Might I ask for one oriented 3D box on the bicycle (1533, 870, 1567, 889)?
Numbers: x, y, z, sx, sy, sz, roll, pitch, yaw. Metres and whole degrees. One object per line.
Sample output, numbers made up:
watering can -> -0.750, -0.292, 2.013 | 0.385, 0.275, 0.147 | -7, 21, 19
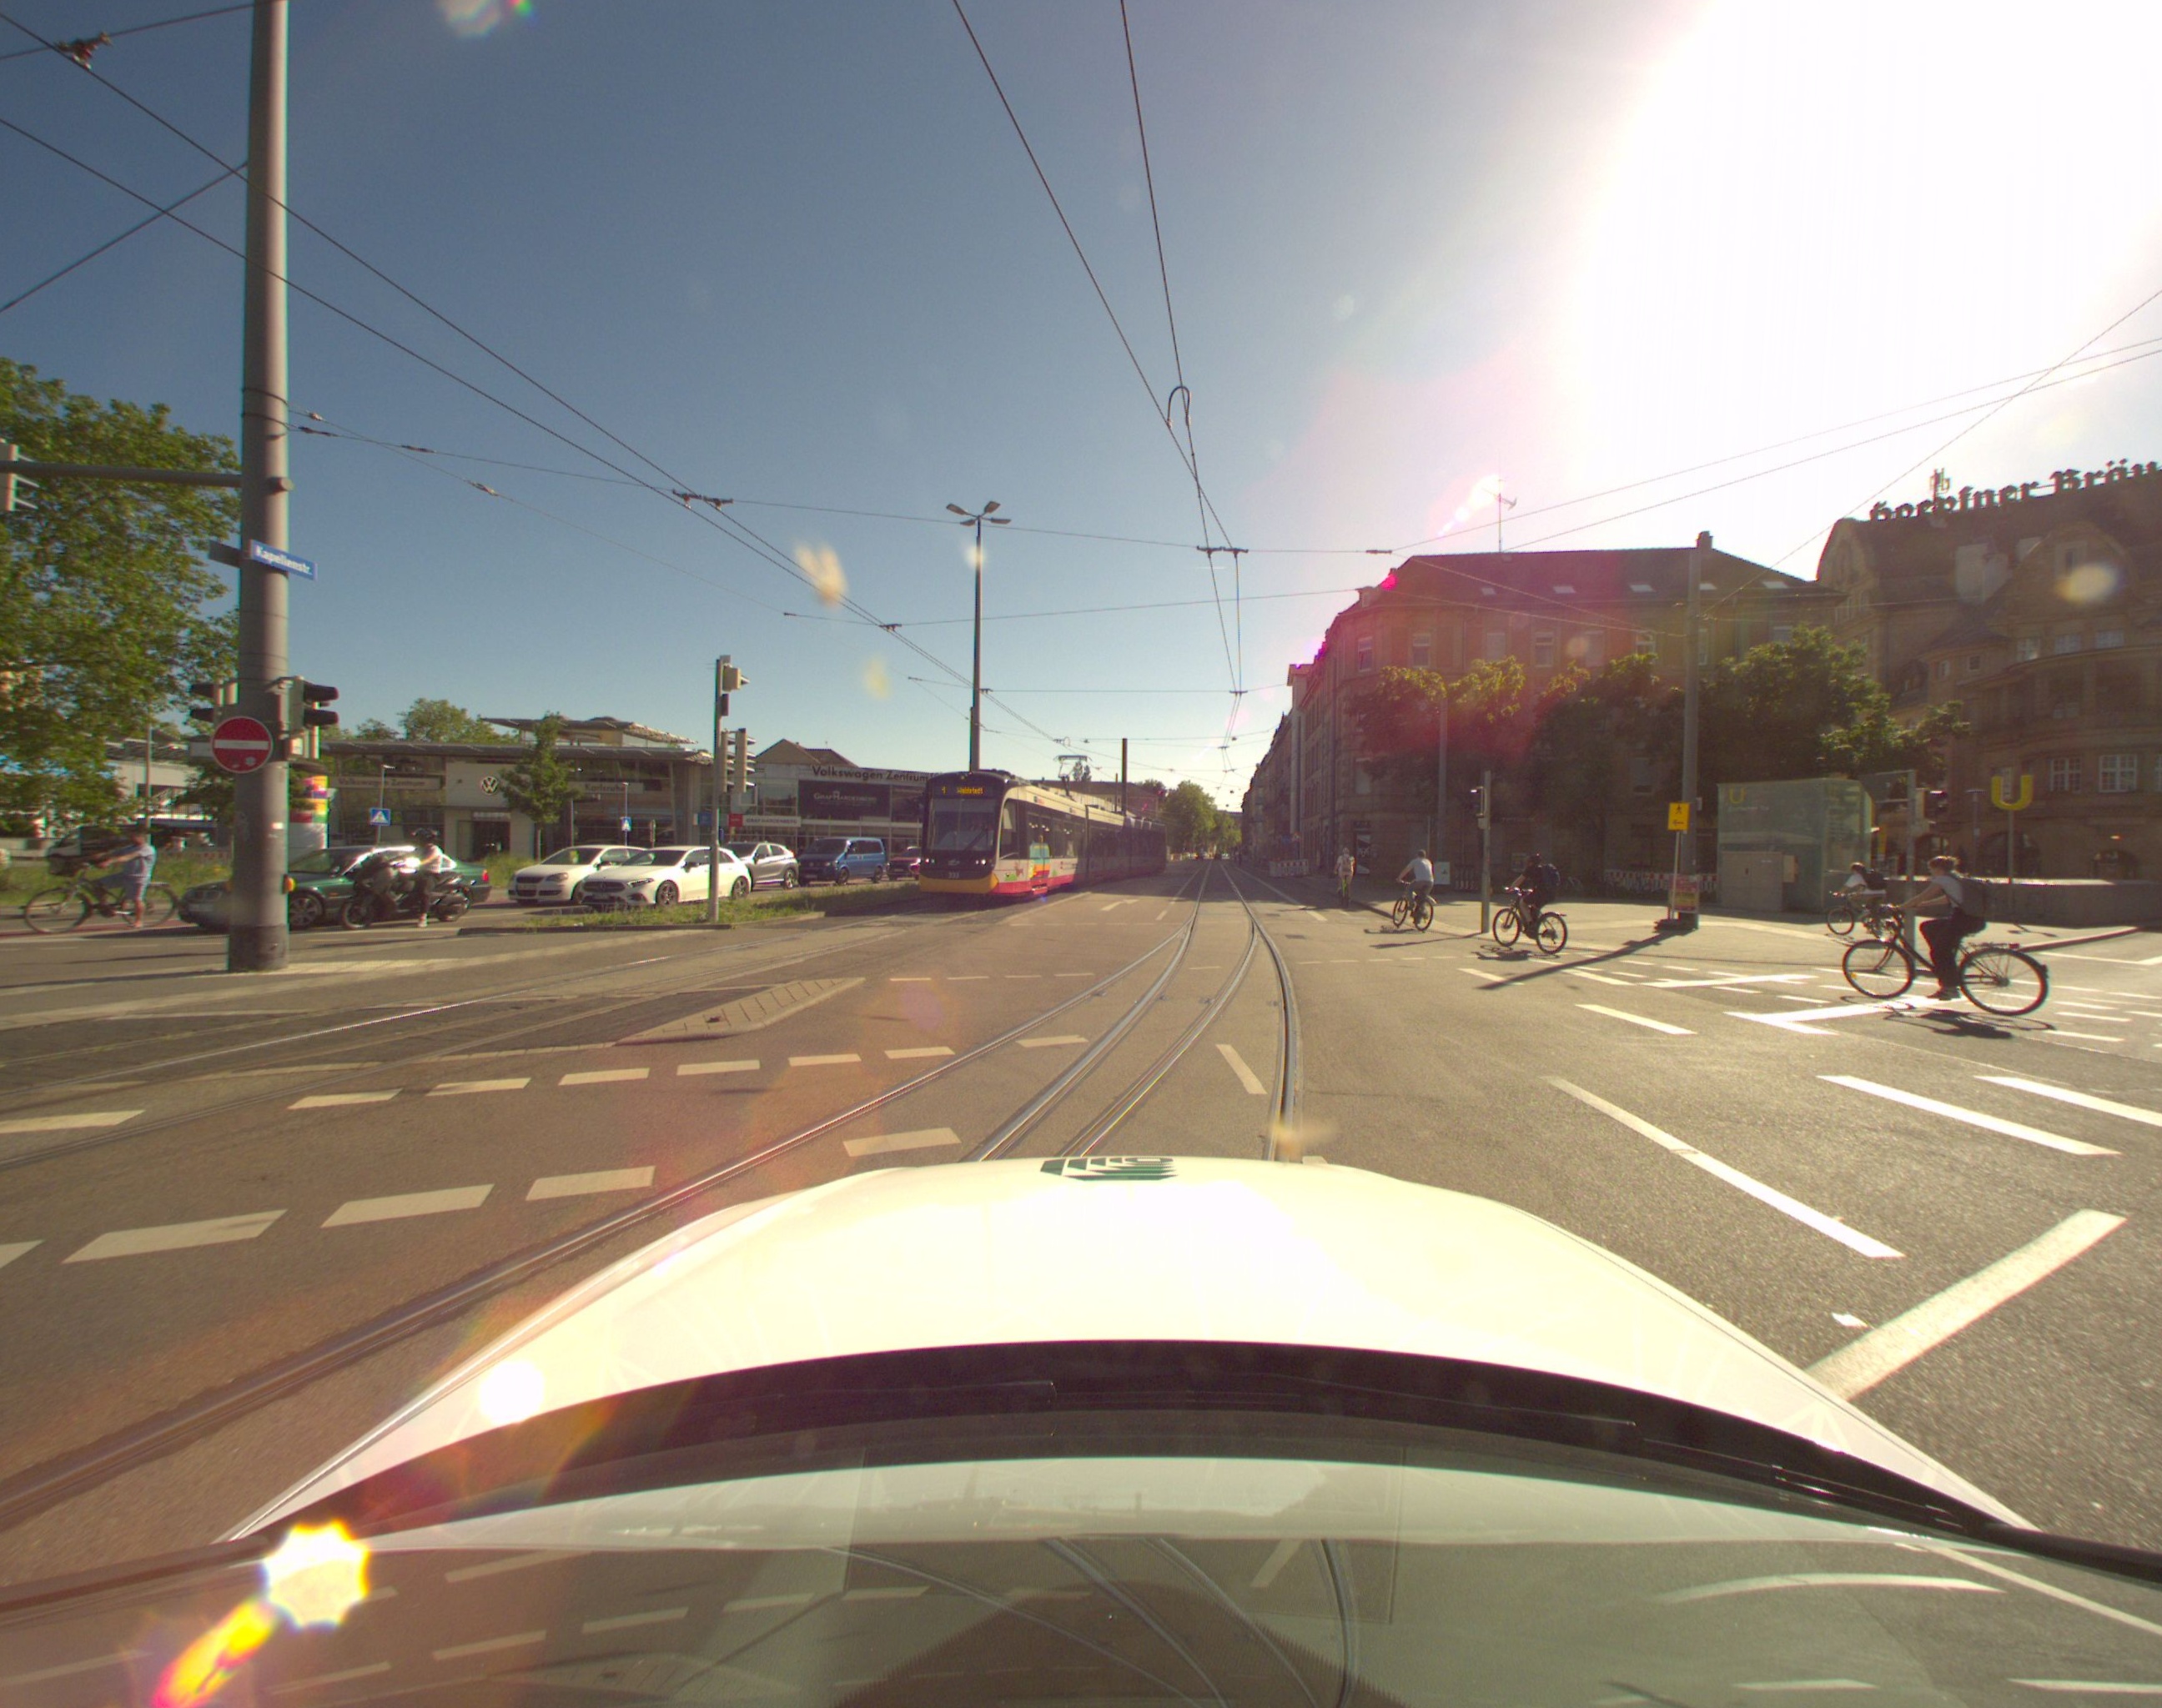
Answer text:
bicycle -> 23.790, 1.303, 41.314 | 1.407, 0.856, 0.406 | 3, 0, 16

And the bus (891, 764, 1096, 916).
bus -> -2.008, -0.373, 26.224 | 2.824, 3.589, 13.532 | 2, 0, 10

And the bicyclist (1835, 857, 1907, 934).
bicyclist -> 17.377, 0.888, 17.930 | 0.596, 1.613, 0.953 | 3, 0, 0

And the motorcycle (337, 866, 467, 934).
motorcycle -> -11.467, 0.744, 13.834 | 0.515, 1.047, 1.752 | 0, 0, 11

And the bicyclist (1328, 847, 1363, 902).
bicyclist -> 8.375, 0.644, 25.847 | 0.679, 1.683, 1.120 | 3, 0, -1

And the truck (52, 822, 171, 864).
truck -> -56.674, -0.631, 47.688 | 4.195, 2.221, 1.997 | 3, 0, -5

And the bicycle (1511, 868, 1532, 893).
bicycle -> 19.280, 1.154, 35.659 | 0.400, 1.061, 1.488 | 3, 0, 15

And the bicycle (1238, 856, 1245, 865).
bicycle -> 21.237, 0.881, 107.698 | 0.677, 1.114, 2.714 | 3, 0, 9

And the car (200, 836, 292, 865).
car -> -56.334, -0.249, 55.029 | 3.976, 1.756, 1.999 | 3, 0, -2

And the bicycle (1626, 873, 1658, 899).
bicycle -> 24.081, 1.367, 34.995 | 0.401, 1.061, 1.463 | 3, 0, 3

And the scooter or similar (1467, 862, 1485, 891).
scooter or similar -> 17.359, 0.973, 35.783 | 0.268, 1.196, 1.569 | 3, 0, 10

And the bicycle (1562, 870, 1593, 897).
bicycle -> 21.537, 1.268, 35.339 | 0.402, 1.061, 1.349 | 3, 0, -6

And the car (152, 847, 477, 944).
car -> -13.238, 0.631, 14.460 | 1.639, 1.479, 3.982 | 0, 0, 10

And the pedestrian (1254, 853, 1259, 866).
pedestrian -> 22.320, 0.730, 103.769 | 0.548, 1.701, 0.476 | -1, -1, 16

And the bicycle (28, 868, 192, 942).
bicycle -> -15.738, 0.789, 13.261 | 0.534, 1.073, 1.659 | 1, 1, 10

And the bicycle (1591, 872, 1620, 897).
bicycle -> 22.958, 1.327, 35.651 | 0.401, 1.061, 1.464 | 3, 0, 6

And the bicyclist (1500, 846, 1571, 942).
bicyclist -> 8.075, 0.690, 14.499 | 0.622, 1.613, 0.980 | 3, 0, -3

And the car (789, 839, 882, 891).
car -> -9.814, 0.426, 32.887 | 1.791, 1.933, 4.178 | 0, -1, 12

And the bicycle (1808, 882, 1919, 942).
bicycle -> 17.376, 1.261, 18.152 | 0.530, 1.117, 1.933 | 3, 2, -1

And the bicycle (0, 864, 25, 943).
bicycle -> -16.751, 0.760, 11.767 | 0.534, 1.184, 1.758 | 1, 1, 10

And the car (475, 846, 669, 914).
car -> -12.489, 0.596, 20.332 | 1.792, 1.432, 4.011 | 3, 0, 10

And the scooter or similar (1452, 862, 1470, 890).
scooter or similar -> 16.722, 0.957, 35.881 | 0.268, 1.185, 1.569 | 3, 0, 10

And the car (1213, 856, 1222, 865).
car -> 31.477, 1.510, 187.286 | 1.981, 2.013, 4.011 | 3, 0, 10

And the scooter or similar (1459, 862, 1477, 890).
scooter or similar -> 17.034, 0.973, 35.842 | 0.268, 1.185, 1.569 | 3, 0, 10

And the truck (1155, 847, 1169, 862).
truck -> 16.266, 0.143, 163.399 | 2.525, 2.830, 6.386 | 3, 0, 6

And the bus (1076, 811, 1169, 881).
bus -> 2.737, -0.419, 47.893 | 2.819, 3.589, 11.318 | 2, 0, 16

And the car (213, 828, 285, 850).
car -> -72.280, -1.271, 70.809 | 1.986, 1.798, 4.001 | 3, 0, 1

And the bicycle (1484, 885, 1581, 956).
bicycle -> 8.069, 1.156, 14.656 | 0.530, 1.117, 1.930 | 1, -1, -5

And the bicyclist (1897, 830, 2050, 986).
bicyclist -> 9.754, 0.563, 8.931 | 0.550, 1.613, 0.949 | 3, 0, -13

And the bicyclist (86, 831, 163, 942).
bicyclist -> -15.693, 0.514, 13.371 | 0.570, 1.742, 0.603 | 3, 2, 9

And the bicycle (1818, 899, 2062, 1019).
bicycle -> 9.649, 1.125, 9.268 | 0.532, 1.117, 1.926 | 1, -1, -12

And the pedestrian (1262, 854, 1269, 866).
pedestrian -> 23.566, 0.783, 104.131 | 0.793, 1.605, 0.654 | 1, -1, 11

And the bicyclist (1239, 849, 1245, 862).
bicyclist -> 21.217, 0.177, 107.411 | 0.663, 1.696, 1.045 | 3, 0, 9

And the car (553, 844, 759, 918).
car -> -9.681, 0.568, 19.072 | 1.792, 1.432, 4.553 | 3, 0, 10

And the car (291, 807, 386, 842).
car -> -48.374, -1.895, 53.142 | 3.988, 2.013, 1.993 | 3, 0, -11

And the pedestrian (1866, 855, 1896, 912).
pedestrian -> 26.695, 0.990, 27.162 | 0.652, 1.849, 0.541 | 3, 0, -33

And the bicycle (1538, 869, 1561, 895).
bicycle -> 20.460, 1.217, 35.550 | 0.400, 1.061, 1.356 | 3, 0, 10

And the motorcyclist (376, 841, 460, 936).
motorcyclist -> -11.442, 0.579, 14.083 | 0.581, 1.580, 0.946 | 0, -1, 11

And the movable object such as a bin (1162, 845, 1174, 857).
movable object such as a bin -> 20.783, -0.703, 194.051 | 2.482, 2.645, 6.000 | 3, 0, 7

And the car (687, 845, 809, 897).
car -> -11.057, 0.539, 27.370 | 1.791, 1.578, 4.176 | 0, 0, 10

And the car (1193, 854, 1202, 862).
car -> 27.551, 0.902, 192.371 | 1.748, 1.697, 4.155 | 3, 0, 10

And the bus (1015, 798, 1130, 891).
bus -> -0.047, -0.398, 37.369 | 2.822, 3.589, 10.762 | 2, 0, 12

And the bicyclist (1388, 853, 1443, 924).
bicyclist -> 7.689, 0.773, 18.739 | 0.784, 1.593, 0.880 | 1, 0, -18

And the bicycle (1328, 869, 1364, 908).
bicycle -> 8.362, 1.074, 25.769 | 0.529, 1.117, 1.934 | 3, 0, 2

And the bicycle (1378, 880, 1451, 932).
bicycle -> 7.659, 1.167, 18.779 | 0.387, 1.069, 1.922 | 1, 0, -18

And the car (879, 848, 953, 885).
car -> -8.063, 0.583, 40.228 | 1.786, 1.719, 4.434 | 0, 0, 15
